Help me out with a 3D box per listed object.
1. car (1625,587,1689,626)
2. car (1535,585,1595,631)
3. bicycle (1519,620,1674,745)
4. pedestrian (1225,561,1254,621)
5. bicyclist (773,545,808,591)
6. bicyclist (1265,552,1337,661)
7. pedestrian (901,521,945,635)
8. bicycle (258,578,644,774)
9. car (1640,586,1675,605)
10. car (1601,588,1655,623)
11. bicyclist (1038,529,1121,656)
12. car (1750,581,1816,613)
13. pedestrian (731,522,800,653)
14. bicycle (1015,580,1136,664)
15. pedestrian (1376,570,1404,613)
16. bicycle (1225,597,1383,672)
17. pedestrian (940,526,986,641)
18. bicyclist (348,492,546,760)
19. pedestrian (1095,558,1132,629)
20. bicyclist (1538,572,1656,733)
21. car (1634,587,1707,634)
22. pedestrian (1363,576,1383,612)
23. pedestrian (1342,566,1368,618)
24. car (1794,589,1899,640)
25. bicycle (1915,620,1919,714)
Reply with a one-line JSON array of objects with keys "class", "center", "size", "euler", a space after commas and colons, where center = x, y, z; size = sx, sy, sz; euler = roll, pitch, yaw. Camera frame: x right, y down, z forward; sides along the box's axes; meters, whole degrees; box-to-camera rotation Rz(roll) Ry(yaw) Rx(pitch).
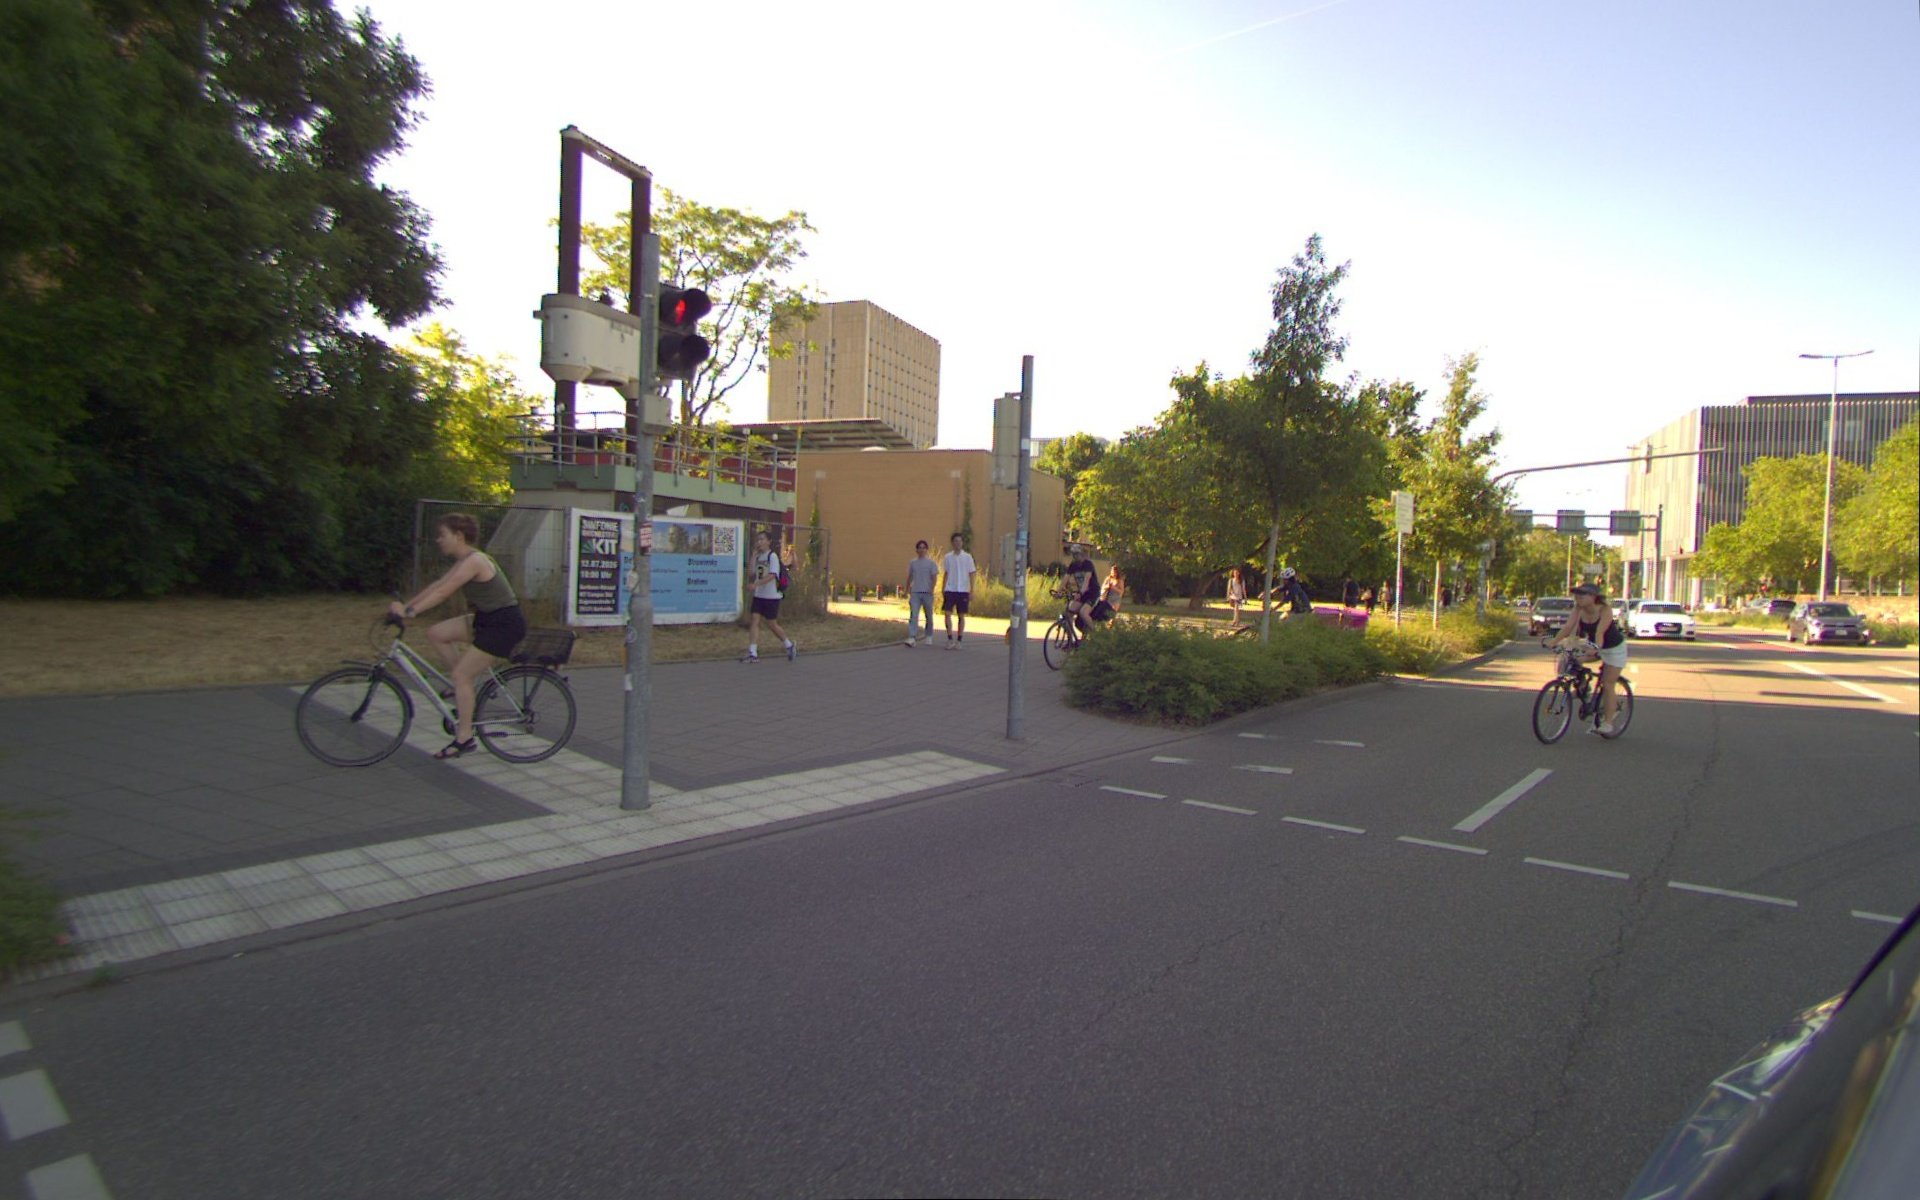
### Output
[{"class": "car", "center": [30.047, 0.233, 43.735], "size": [1.910, 1.537, 3.975], "euler": [3, 2, 30]}, {"class": "car", "center": [22.517, 0.249, 37.727], "size": [1.789, 1.537, 3.957], "euler": [3, 2, 30]}, {"class": "bicycle", "center": [6.579, 0.796, 10.430], "size": [1.834, 1.135, 0.719], "euler": [0, 1, -36]}, {"class": "pedestrian", "center": [8.245, -0.266, 29.880], "size": [0.668, 1.725, 0.870], "euler": [2, 1, 22]}, {"class": "bicyclist", "center": [-5.549, -1.058, 33.164], "size": [0.907, 1.453, 0.618], "euler": [2, -1, 23]}, {"class": "bicyclist", "center": [6.047, 0.099, 17.996], "size": [1.077, 1.856, 0.777], "euler": [2, 1, 14]}, {"class": "pedestrian", "center": [-0.634, -0.378, 17.212], "size": [0.609, 1.892, 0.578], "euler": [2, 1, -12]}, {"class": "bicycle", "center": [-3.386, 0.503, 6.974], "size": [2.243, 1.169, 0.783], "euler": [2, 4, -19]}, {"class": "car", "center": [63.804, -0.405, 92.608], "size": [1.980, 1.615, 3.966], "euler": [2, 2, 25]}, {"class": "car", "center": [32.582, 0.239, 49.438], "size": [1.910, 1.537, 3.975], "euler": [3, 2, 30]}, {"class": "bicyclist", "center": [1.838, -0.130, 15.476], "size": [0.776, 1.853, 1.078], "euler": [3, 2, 37]}, {"class": "car", "center": [48.408, -0.204, 59.603], "size": [1.981, 1.705, 4.587], "euler": [3, 2, 27]}, {"class": "pedestrian", "center": [-2.624, -0.178, 13.674], "size": [0.619, 1.720, 0.622], "euler": [3, 2, 36]}, {"class": "bicycle", "center": [1.804, 0.299, 15.458], "size": [0.776, 1.170, 2.261], "euler": [3, 2, 37]}, {"class": "pedestrian", "center": [18.557, -0.365, 43.655], "size": [1.007, 1.771, 0.843], "euler": [3, 2, 22]}, {"class": "bicycle", "center": [6.066, 0.595, 18.005], "size": [2.542, 1.170, 0.777], "euler": [2, 2, 14]}, {"class": "pedestrian", "center": [0.042, -0.283, 17.146], "size": [0.609, 1.892, 0.578], "euler": [2, 1, -12]}, {"class": "bicyclist", "center": [-3.465, 0.155, 6.928], "size": [1.070, 1.697, 0.783], "euler": [2, 3, -19]}, {"class": "pedestrian", "center": [3.522, -0.154, 23.168], "size": [0.617, 1.594, 0.633], "euler": [2, 2, 28]}, {"class": "bicyclist", "center": [6.540, 0.519, 10.395], "size": [0.833, 1.568, 0.717], "euler": [3, -1, -35]}, {"class": "car", "center": [26.122, 0.339, 37.336], "size": [1.789, 1.537, 4.384], "euler": [3, 2, 30]}, {"class": "pedestrian", "center": [18.245, -0.277, 44.719], "size": [0.754, 1.562, 0.841], "euler": [3, 2, 22]}, {"class": "pedestrian", "center": [13.615, -0.272, 34.837], "size": [0.706, 1.734, 0.727], "euler": [2, 2, 28]}, {"class": "car", "center": [30.116, 0.429, 34.525], "size": [1.910, 1.537, 3.975], "euler": [3, 2, 30]}, {"class": "bicycle", "center": [12.656, 0.814, 12.007], "size": [2.026, 1.135, 0.720], "euler": [0, 0, -3]}]
